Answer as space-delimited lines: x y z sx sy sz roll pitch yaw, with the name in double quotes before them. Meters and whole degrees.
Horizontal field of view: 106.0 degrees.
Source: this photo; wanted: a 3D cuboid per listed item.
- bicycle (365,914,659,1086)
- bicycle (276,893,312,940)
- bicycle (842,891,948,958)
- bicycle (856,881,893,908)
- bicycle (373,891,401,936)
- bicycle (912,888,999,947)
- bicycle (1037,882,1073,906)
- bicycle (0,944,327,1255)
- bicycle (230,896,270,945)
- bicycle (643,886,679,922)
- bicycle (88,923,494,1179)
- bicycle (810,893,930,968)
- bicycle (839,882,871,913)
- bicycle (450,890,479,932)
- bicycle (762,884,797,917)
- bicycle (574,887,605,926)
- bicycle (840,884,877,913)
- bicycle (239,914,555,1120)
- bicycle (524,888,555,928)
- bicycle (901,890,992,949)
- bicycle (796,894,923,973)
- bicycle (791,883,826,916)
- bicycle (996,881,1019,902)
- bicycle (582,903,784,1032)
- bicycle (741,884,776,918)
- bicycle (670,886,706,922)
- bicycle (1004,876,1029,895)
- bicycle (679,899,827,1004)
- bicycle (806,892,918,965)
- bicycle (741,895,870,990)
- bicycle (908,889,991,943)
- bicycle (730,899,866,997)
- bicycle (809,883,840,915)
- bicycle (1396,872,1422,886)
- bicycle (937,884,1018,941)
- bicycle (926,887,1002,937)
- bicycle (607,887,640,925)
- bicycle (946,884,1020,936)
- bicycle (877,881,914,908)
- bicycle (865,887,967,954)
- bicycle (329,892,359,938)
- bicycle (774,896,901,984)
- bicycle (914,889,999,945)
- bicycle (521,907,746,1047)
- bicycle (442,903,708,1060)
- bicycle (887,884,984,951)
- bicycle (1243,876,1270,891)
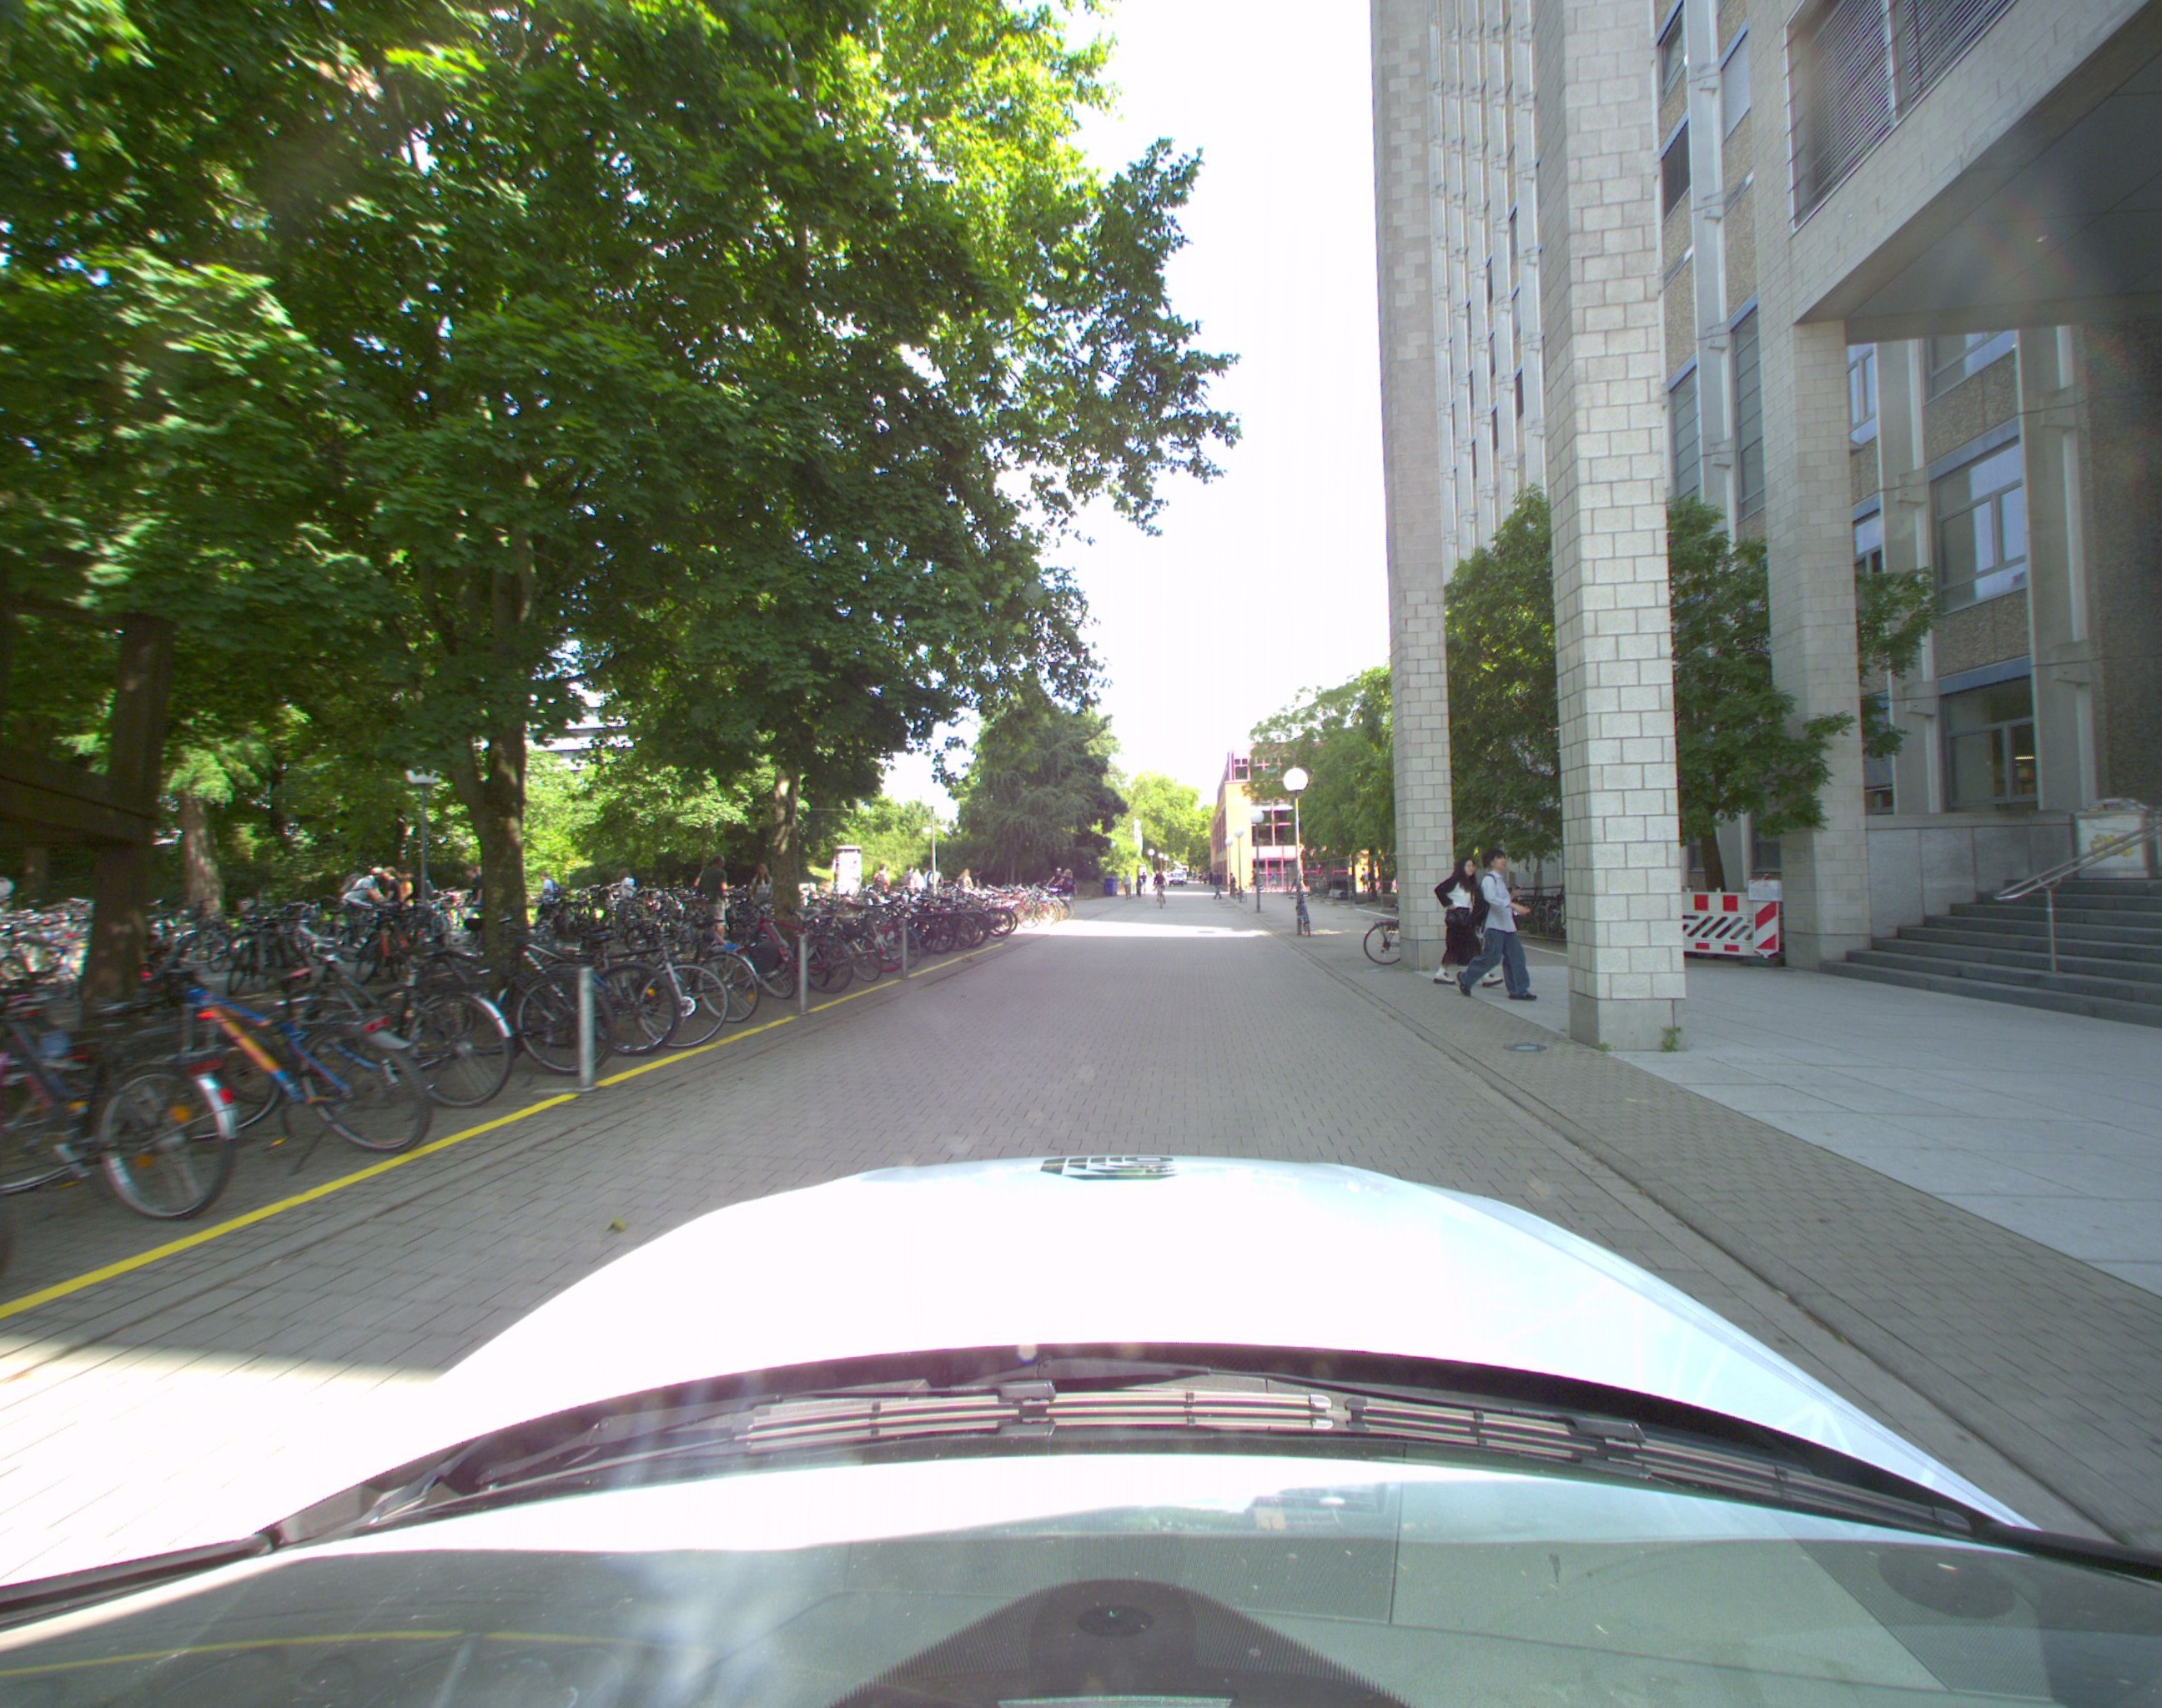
"bicycle" -3.973 0.999 5.767 1.618 1.108 0.645 0 -2 2
"bicycle" -19.800 1.548 20.509 0.520 1.110 1.757 1 -2 -41
"bicycle" -3.203 1.210 14.138 1.732 1.108 0.496 0 -2 -5
"bicycle" -8.509 1.660 33.550 1.755 1.110 0.477 -1 -2 36
"bicycle" -18.514 1.559 21.728 0.520 1.110 1.757 1 -2 -41
"bicycle" -2.506 1.257 16.330 1.691 1.145 0.473 0 -2 -5
"bicycle" -1.205 1.873 38.351 1.855 1.110 0.468 1 -2 -44
"bicycle" -4.166 0.970 3.492 1.613 1.108 0.498 -1 -2 12
"bicycle" -20.374 1.615 19.986 0.520 1.110 1.757 1 -2 -41
"bicycle" -13.329 1.566 25.798 0.520 1.110 1.756 2 -2 -44
"bicycle" -4.031 0.935 4.205 1.613 1.108 0.693 -1 -2 12
"bicycle" -3.254 1.177 12.626 1.728 1.126 0.497 0 -2 2
"bicycle" -8.351 1.589 30.061 0.476 1.110 1.757 1 -2 -39
"bicycle" -17.270 1.565 22.790 0.520 1.110 1.757 1 -2 -41
"bicycle" -10.638 1.625 28.730 0.477 1.110 1.756 2 -2 -44
"bicycle" -14.796 1.551 24.496 0.520 1.110 1.757 1 -2 -41
"bicycle" -8.960 1.776 32.779 1.755 1.110 0.477 -1 -2 36
"bicycle" -4.177 0.957 5.013 1.615 1.151 0.498 0 -2 7
"bicycle" -15.924 1.554 23.925 0.520 1.110 1.757 1 -2 -41
"bicycle" -2.593 1.259 15.811 1.690 1.108 0.496 0 -2 -4
"bicycle" -3.249 1.159 12.000 1.725 1.108 0.498 0 -2 7
"bicycle" -9.762 1.613 29.162 0.477 1.110 1.756 2 -2 -44
"bicycle" -3.789 1.914 41.797 0.476 1.047 1.682 1 -2 -33
"bicycle" -3.825 1.045 7.855 1.707 1.108 0.722 -1 -2 18
"bicycle" -10.995 1.591 27.763 0.477 1.110 1.756 2 -2 -44
"bicycle" -12.815 1.603 26.517 0.520 1.110 1.756 2 -2 -44
"bicycle" -3.607 1.764 45.604 0.468 1.047 1.710 1 -2 29
"bicycle" -3.774 1.087 9.367 1.610 1.108 0.566 -1 -2 21
"bicycle" -3.565 1.195 13.321 1.739 1.108 0.494 0 -2 -17
"bicycle" -3.555 1.105 10.498 1.610 1.144 0.499 -1 -2 21
"bicycle" -2.763 1.303 17.199 1.691 1.108 0.473 0 -2 -4
"bicycle" -3.432 1.105 9.866 1.610 1.108 0.499 -1 -2 21
"bicycle" -9.295 1.599 29.471 0.476 1.110 1.757 1 -2 -39
"bicycle" 25.988 1.949 64.538 1.799 1.110 0.474 0 -2 1
"bicycle" -2.243 1.269 17.742 1.689 1.199 0.536 0 -2 -1
"bicycle" -2.657 1.324 18.629 1.691 1.108 0.565 0 -2 -4
"bicycle" -14.097 1.585 25.071 0.520 1.110 1.757 1 -2 -41
"bicycle" -2.299 1.305 19.144 1.691 1.188 0.473 0 -2 -4
"bicycle" -7.836 1.712 34.396 1.755 1.110 0.477 -1 -2 36
"bicycle" -2.991 1.200 14.811 1.726 1.179 0.498 0 -2 6
"bicycle" -19.143 1.556 21.177 0.520 1.110 1.757 1 -2 -41
"bicycle" -3.330 1.140 11.129 1.719 1.108 0.578 -1 -2 26
"bicycle" -2.546 1.288 16.796 1.691 1.108 0.473 0 -2 -5
"bicycle" -3.749 1.019 6.877 1.618 1.108 0.497 0 -2 2
"bicycle" -3.939 0.977 6.401 1.772 1.162 0.497 0 -2 2
"bicycle" -2.723 1.183 15.345 1.729 1.236 0.497 0 -2 0
"bicycle" 13.312 2.238 61.887 1.883 1.083 0.592 -1 -2 27
